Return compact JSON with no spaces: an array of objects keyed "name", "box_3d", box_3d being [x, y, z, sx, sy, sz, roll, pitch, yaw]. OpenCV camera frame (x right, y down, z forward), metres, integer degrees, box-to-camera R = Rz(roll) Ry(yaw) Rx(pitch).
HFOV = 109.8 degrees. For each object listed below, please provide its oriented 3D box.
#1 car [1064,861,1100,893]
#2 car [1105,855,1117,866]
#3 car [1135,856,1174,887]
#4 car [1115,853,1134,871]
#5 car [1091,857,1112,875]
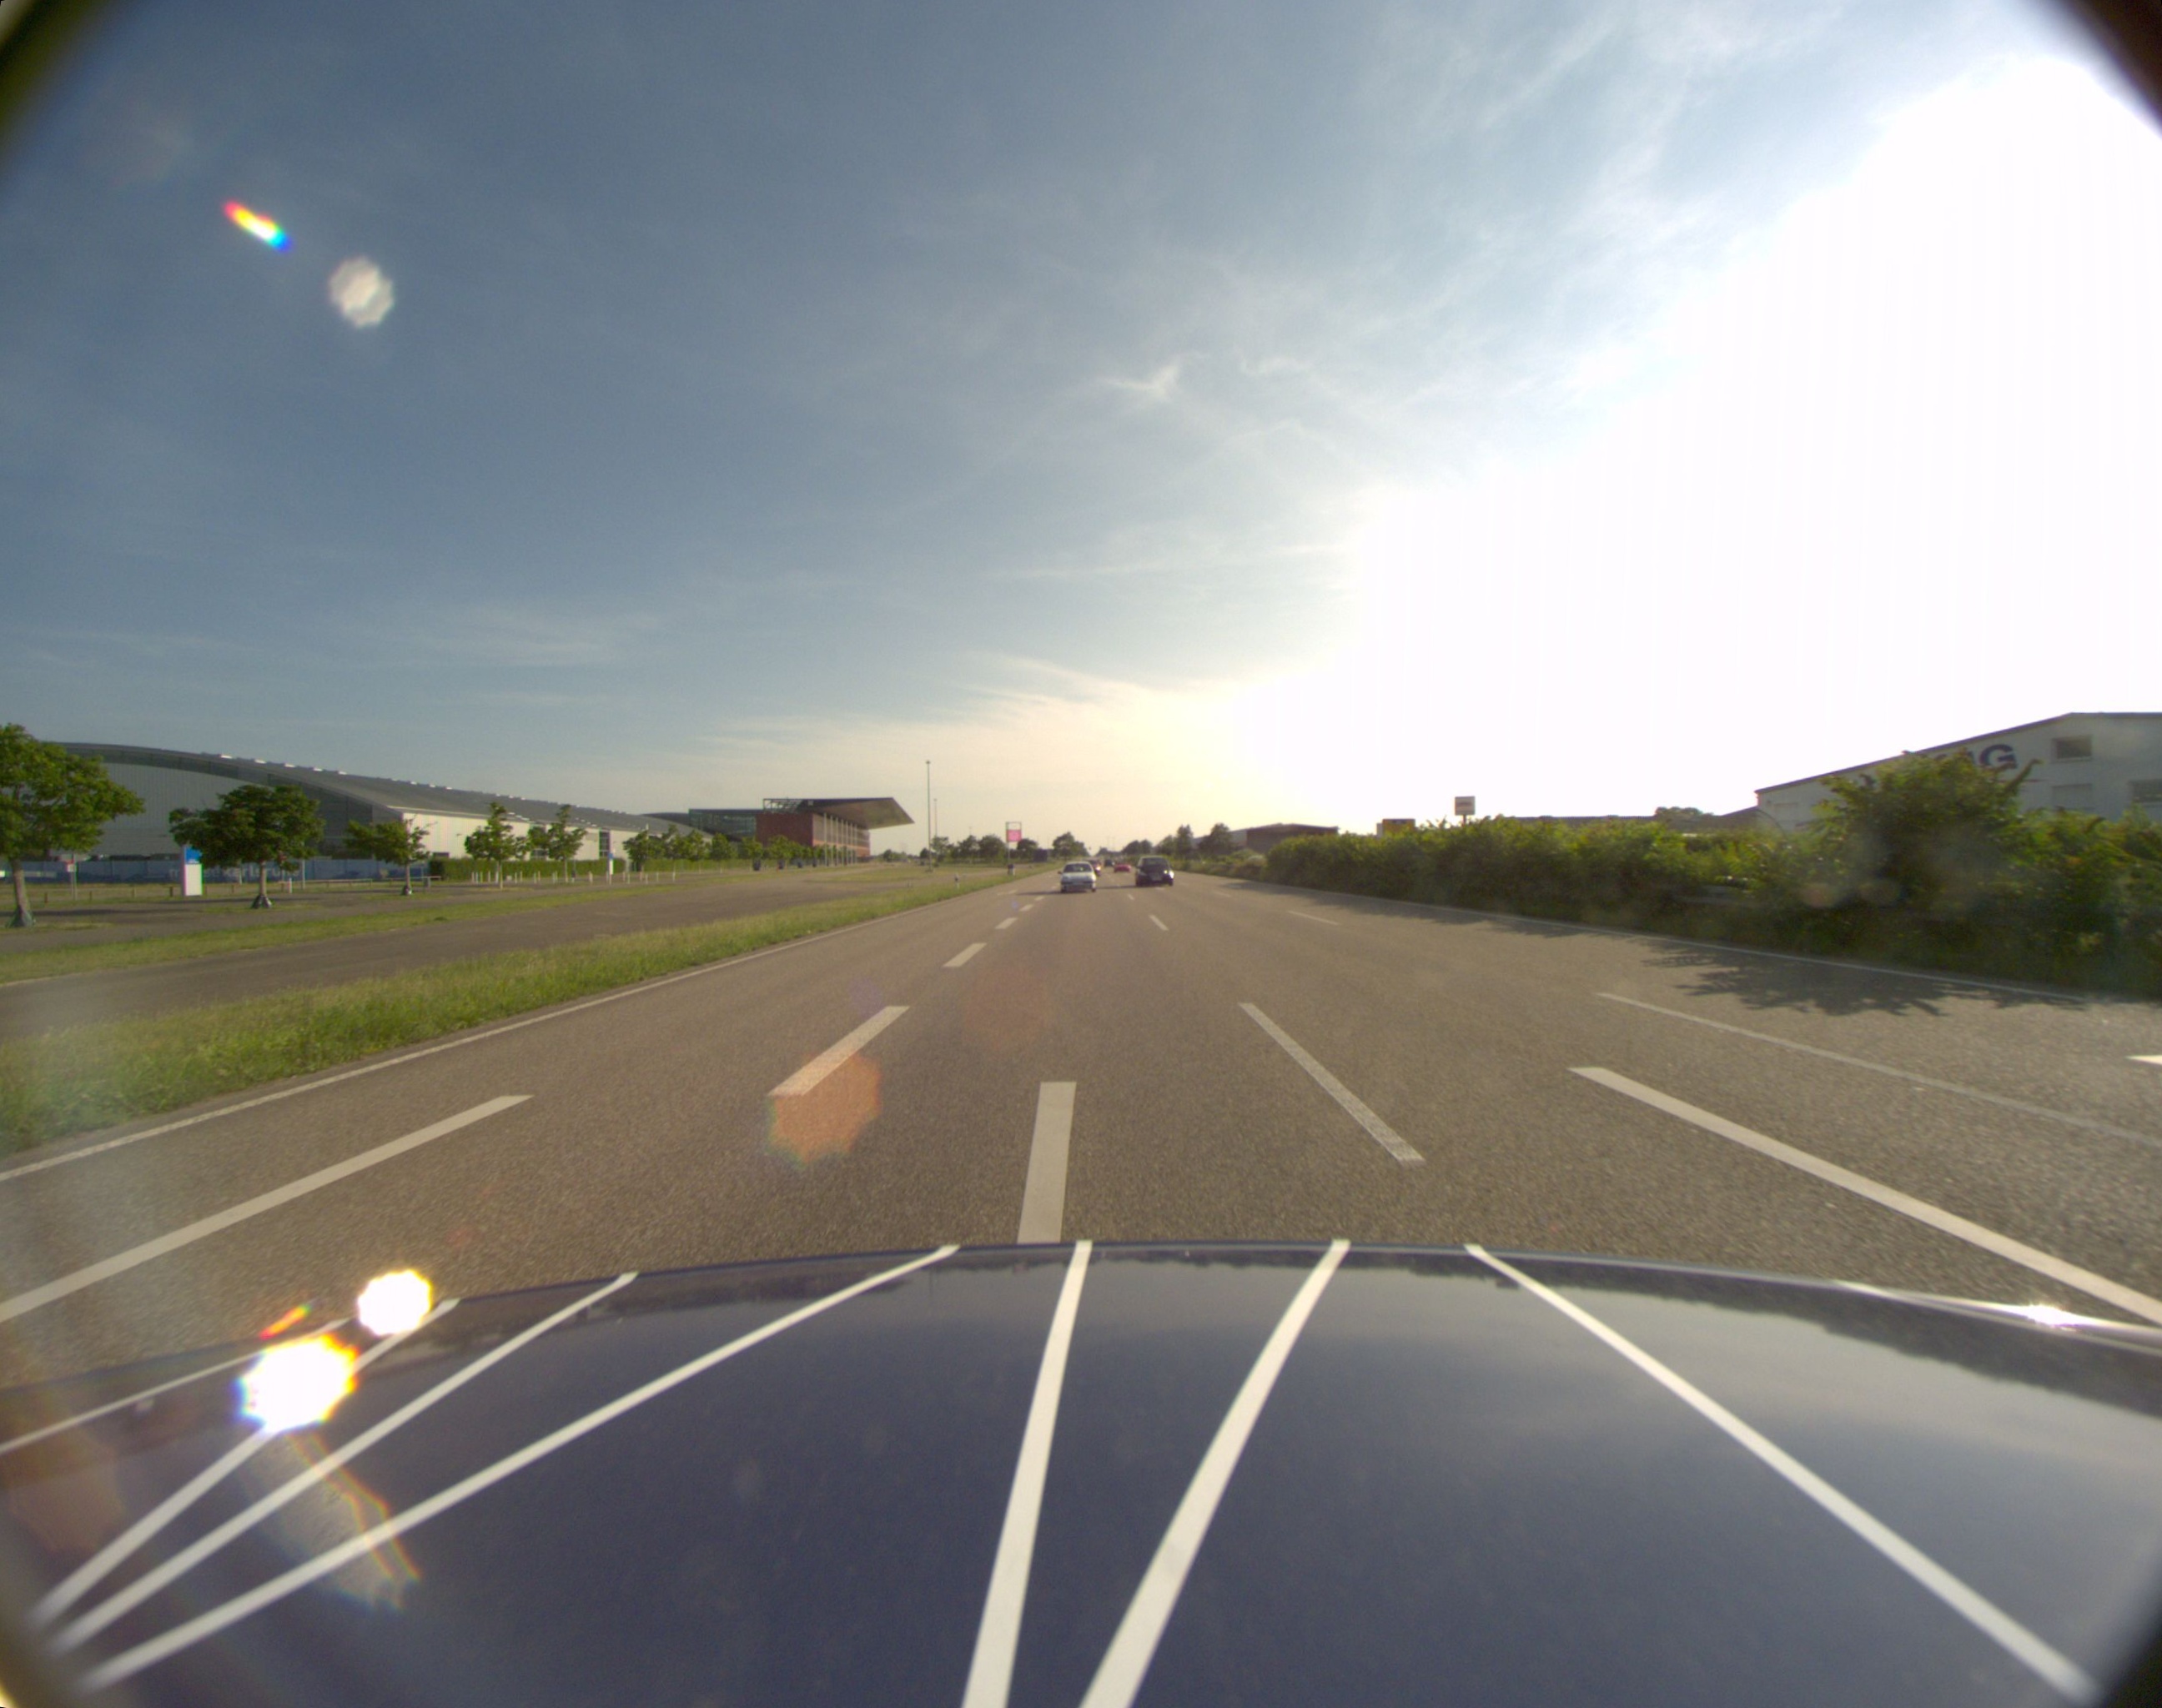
[{"name":"car","box_3d":[0.056,1.039,35.805,1.578,1.371,3.452,-2,0,1]},{"name":"car","box_3d":[5.404,1.209,138.863,1.998,2.002,4.000,-1,0,1]},{"name":"car","box_3d":[3.829,0.878,40.044,1.758,1.499,3.422,-1,0,0]},{"name":"car","box_3d":[4.651,0.833,81.985,1.799,1.926,4.000,-1,0,1]},{"name":"car","box_3d":[1.816,1.077,67.452,1.751,1.512,3.739,-2,0,1]}]
